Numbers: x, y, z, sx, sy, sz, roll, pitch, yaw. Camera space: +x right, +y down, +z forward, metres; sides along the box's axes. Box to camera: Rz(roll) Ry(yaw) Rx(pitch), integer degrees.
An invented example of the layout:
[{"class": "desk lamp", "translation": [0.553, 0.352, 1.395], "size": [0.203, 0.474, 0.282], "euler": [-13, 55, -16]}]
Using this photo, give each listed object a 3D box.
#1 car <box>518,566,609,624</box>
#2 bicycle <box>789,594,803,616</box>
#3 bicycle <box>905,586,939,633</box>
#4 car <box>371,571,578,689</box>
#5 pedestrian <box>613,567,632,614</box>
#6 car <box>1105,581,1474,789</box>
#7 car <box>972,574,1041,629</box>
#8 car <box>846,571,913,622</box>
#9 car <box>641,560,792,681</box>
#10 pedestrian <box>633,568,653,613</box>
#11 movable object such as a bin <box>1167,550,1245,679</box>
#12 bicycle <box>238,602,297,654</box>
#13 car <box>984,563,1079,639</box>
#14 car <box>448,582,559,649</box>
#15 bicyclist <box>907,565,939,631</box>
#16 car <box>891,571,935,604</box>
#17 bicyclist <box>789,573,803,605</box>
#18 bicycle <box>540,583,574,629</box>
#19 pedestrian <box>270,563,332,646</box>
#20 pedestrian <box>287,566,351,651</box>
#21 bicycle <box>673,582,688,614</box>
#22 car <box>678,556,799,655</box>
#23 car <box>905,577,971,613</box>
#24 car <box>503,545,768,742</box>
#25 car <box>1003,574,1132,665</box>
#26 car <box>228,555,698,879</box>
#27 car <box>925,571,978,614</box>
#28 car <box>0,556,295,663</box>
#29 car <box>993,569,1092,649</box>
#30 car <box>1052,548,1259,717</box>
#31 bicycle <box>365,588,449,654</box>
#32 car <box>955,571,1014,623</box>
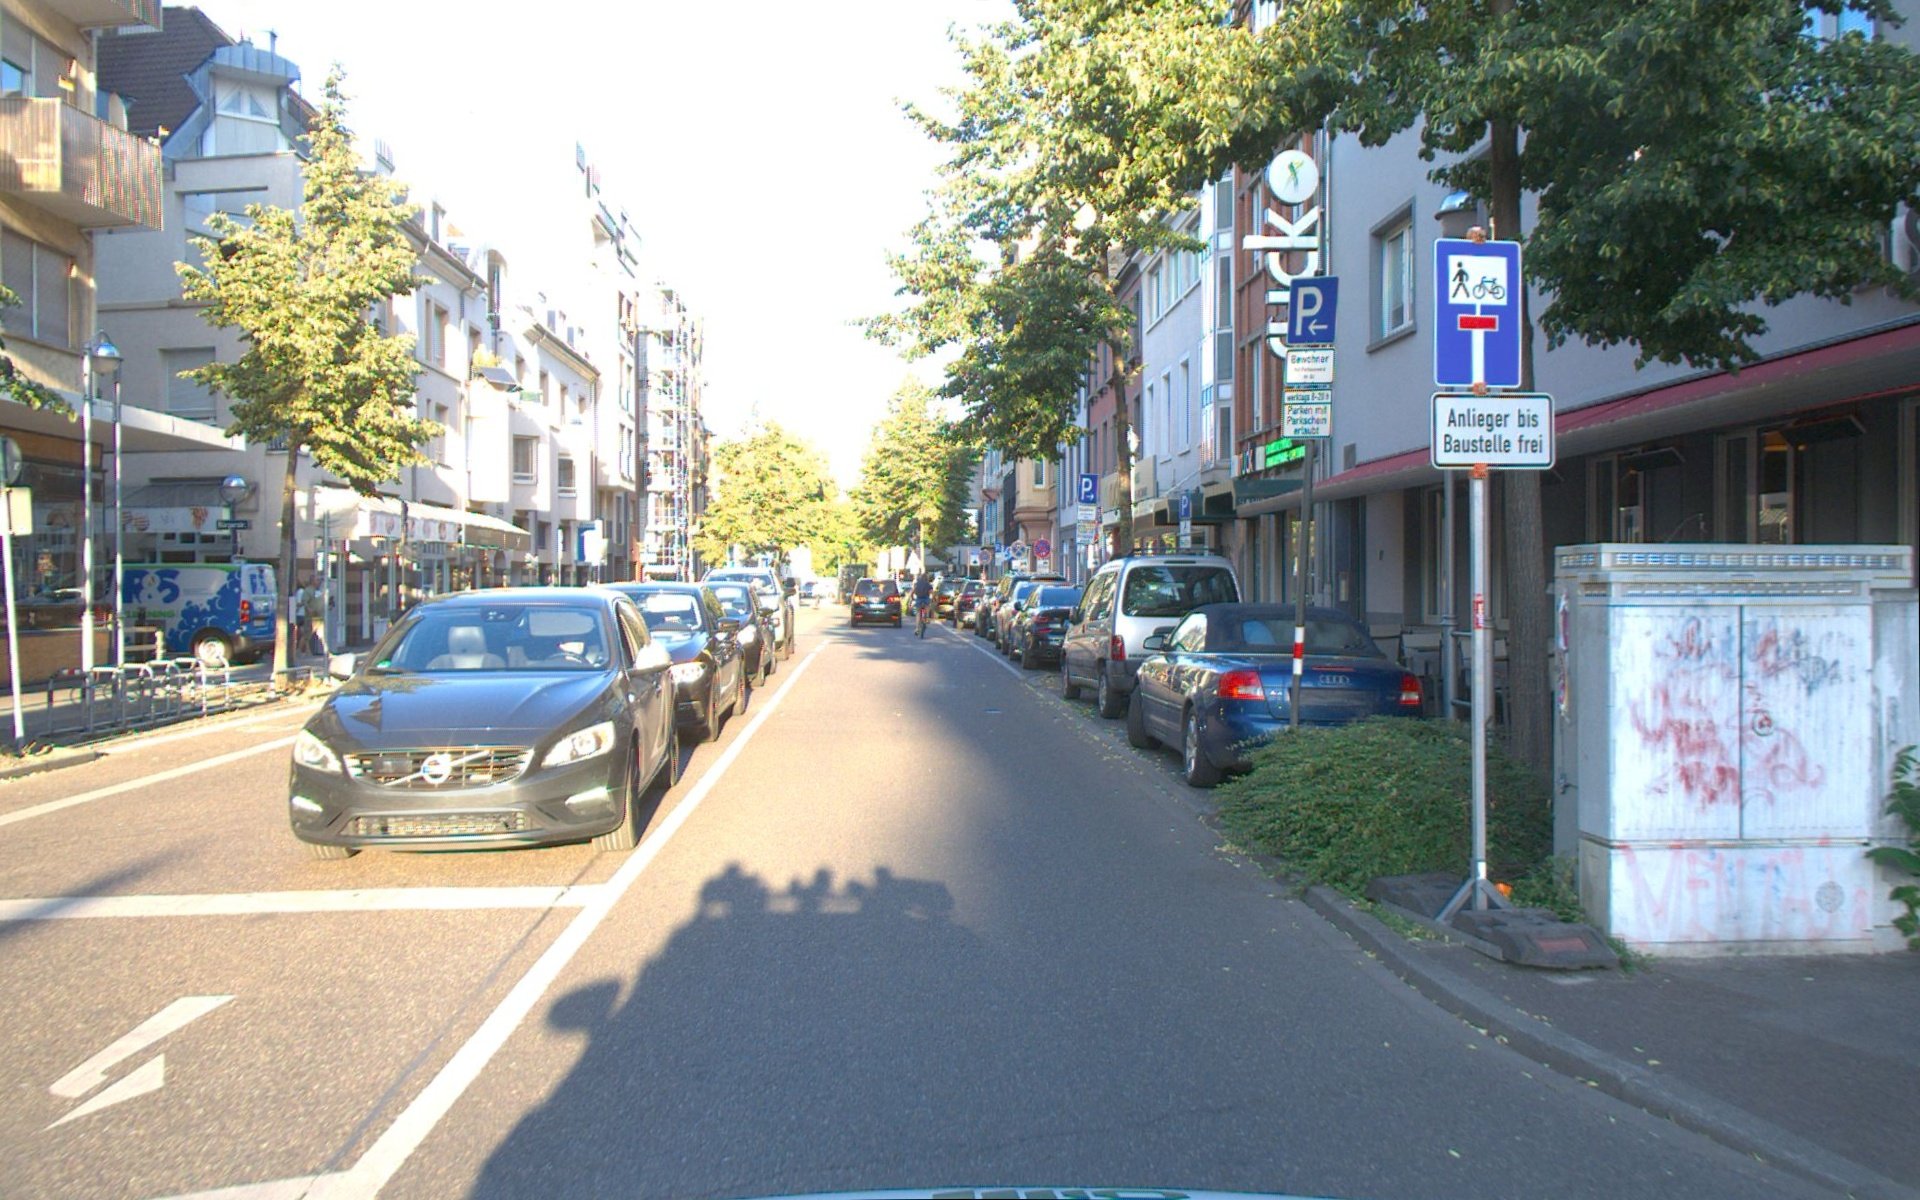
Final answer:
[{"class": "car", "translation": [-10.644, -0.133, 44.599], "size": [1.677, 1.479, 3.723], "euler": [1, 0, -3]}, {"class": "bicycle", "translation": [-9.431, 0.294, 95.405], "size": [0.765, 1.225, 2.019], "euler": [-1, 0, -5]}, {"class": "bicycle", "translation": [-1.015, 0.239, 44.270], "size": [0.765, 1.225, 2.019], "euler": [-1, 0, -5]}, {"class": "car", "translation": [-7.251, 0.410, 25.194], "size": [1.954, 1.538, 4.507], "euler": [-3, 0, -3]}, {"class": "pedestrian", "translation": [-13.229, -0.375, 64.824], "size": [0.704, 1.798, 0.692], "euler": [1, 0, -11]}, {"class": "car", "translation": [2.485, 0.570, 13.588], "size": [1.899, 1.400, 4.179], "euler": [1, 1, -4]}, {"class": "car", "translation": [1.326, 0.044, 48.797], "size": [1.727, 1.509, 4.305], "euler": [1, 0, -2]}, {"class": "car", "translation": [-2.704, -0.120, 56.592], "size": [1.952, 1.629, 4.510], "euler": [1, 0, 1]}, {"class": "car", "translation": [-3.461, 0.264, 24.216], "size": [1.689, 1.576, 4.463], "euler": [-1, 0, -2]}, {"class": "pedestrian", "translation": [-12.440, -0.370, 64.932], "size": [0.704, 1.771, 0.736], "euler": [1, 0, -11]}, {"class": "movable object such as a bin", "translation": [3.551, 0.207, 23.947], "size": [0.819, 1.805, 1.204], "euler": [1, 0, -6]}, {"class": "bicycle", "translation": [-13.843, 0.546, 33.107], "size": [0.480, 1.009, 2.014], "euler": [1, 0, -5]}, {"class": "car", "translation": [1.724, 0.022, 41.783], "size": [1.846, 1.785, 5.055], "euler": [1, 0, -4]}, {"class": "car", "translation": [-10.329, 0.332, 37.655], "size": [1.628, 1.427, 3.881], "euler": [1, 0, -3]}, {"class": "bicyclist", "translation": [-1.000, -0.064, 44.237], "size": [0.765, 1.726, 1.006], "euler": [-1, 0, -5]}, {"class": "car", "translation": [-2.955, -0.791, 103.231], "size": [2.222, 1.796, 4.504], "euler": [6, -1, -6]}, {"class": "bicyclist", "translation": [-9.429, -0.638, 95.329], "size": [0.765, 1.861, 1.006], "euler": [-1, 0, -5]}, {"class": "bicycle", "translation": [-12.657, 0.184, 51.997], "size": [0.598, 1.399, 2.357], "euler": [1, 0, -3]}, {"class": "pedestrian", "translation": [-13.920, 0.089, 34.950], "size": [0.884, 1.705, 0.780], "euler": [1, 0, 11]}, {"class": "pedestrian", "translation": [-13.170, 0.163, 33.991], "size": [0.885, 1.705, 0.994], "euler": [0, 1, 3]}, {"class": "bicycle", "translation": [-12.476, -0.099, 73.802], "size": [0.574, 1.420, 3.152], "euler": [1, 0, -11]}, {"class": "car", "translation": [-4.039, 0.088, 30.814], "size": [1.902, 1.673, 4.735], "euler": [-1, 0, -4]}, {"class": "car", "translation": [-1.024, -0.240, 76.022], "size": [2.912, 1.563, 1.431], "euler": [1, 0, -7]}, {"class": "car", "translation": [-3.086, 0.374, 16.707], "size": [1.907, 1.673, 4.613], "euler": [-1, 0, -2]}, {"class": "car", "translation": [1.835, 0.291, 29.523], "size": [1.718, 1.445, 4.507], "euler": [1, 1, -4]}, {"class": "car", "translation": [-2.800, 0.513, 10.428], "size": [1.920, 1.574, 4.506], "euler": [0, 2, -5]}, {"class": "car", "translation": [-0.399, -0.323, 70.035], "size": [1.789, 1.724, 4.363], "euler": [1, 0, -6]}, {"class": "car", "translation": [-15.232, 0.171, 30.892], "size": [4.768, 1.860, 1.999], "euler": [1, 0, -4]}, {"class": "car", "translation": [1.690, 0.175, 35.428], "size": [1.775, 1.554, 4.992], "euler": [1, 0, -1]}, {"class": "car", "translation": [2.244, 0.313, 19.988], "size": [1.622, 1.809, 4.007], "euler": [1, 1, -6]}, {"class": "bicycle", "translation": [-11.684, 0.420, 35.082], "size": [0.940, 1.323, 3.124], "euler": [1, 0, -5]}, {"class": "car", "translation": [0.793, -0.093, 56.882], "size": [1.775, 1.697, 4.204], "euler": [1, 0, -2]}]
